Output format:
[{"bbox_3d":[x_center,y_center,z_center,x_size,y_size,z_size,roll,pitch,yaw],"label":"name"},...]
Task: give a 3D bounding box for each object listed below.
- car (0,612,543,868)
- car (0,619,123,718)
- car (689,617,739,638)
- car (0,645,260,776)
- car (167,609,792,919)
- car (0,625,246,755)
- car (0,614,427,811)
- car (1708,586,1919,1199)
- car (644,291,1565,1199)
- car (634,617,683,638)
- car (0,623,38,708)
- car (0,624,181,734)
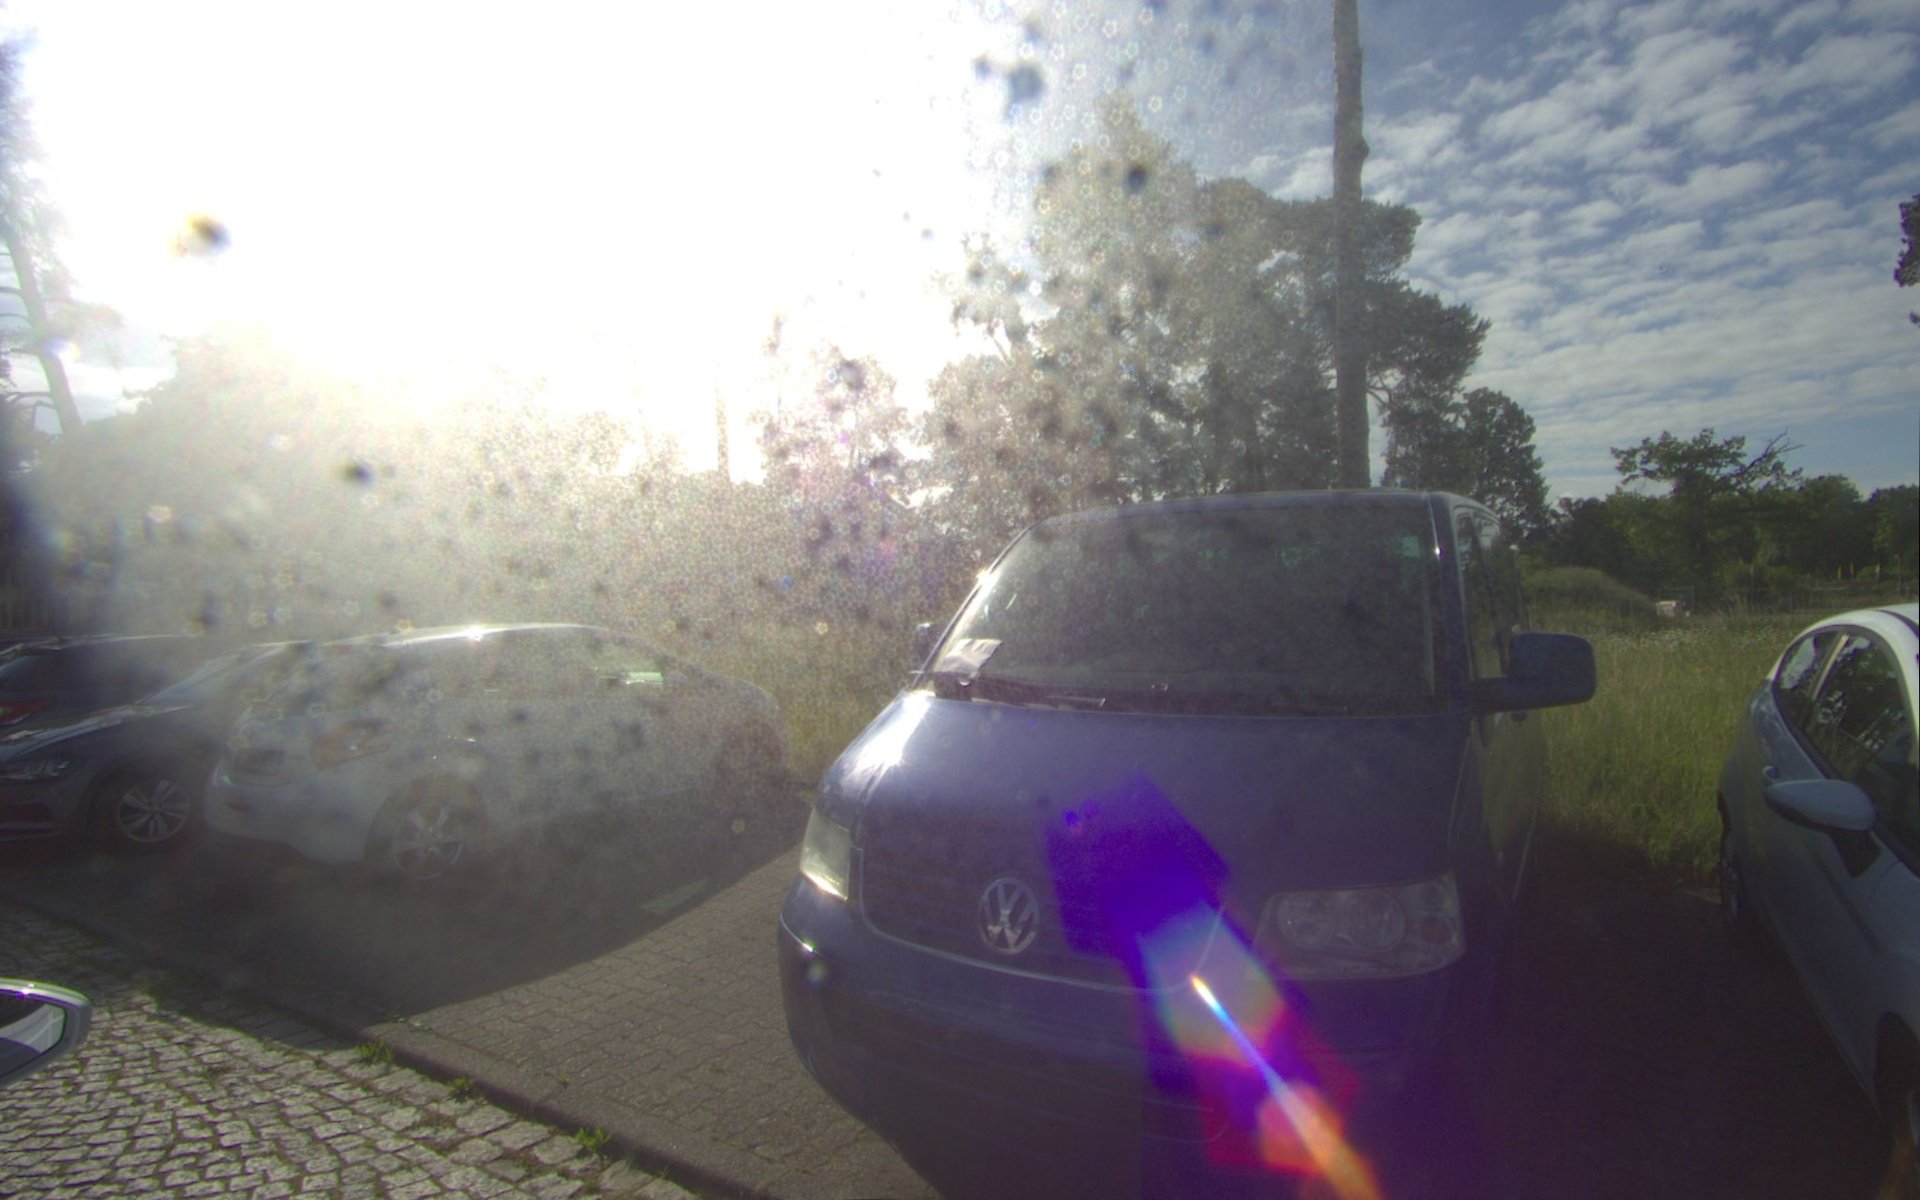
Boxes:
[{"bbox_3d":[-5.660,0.905,8.233,1.733,1.470,3.770,-1,1,34],"label":"car"},{"bbox_3d":[-16.279,1.160,15.579,1.842,1.475,4.610,-1,2,30],"label":"car"},{"bbox_3d":[-19.456,2.179,79.407,1.743,1.517,3.625,-1,-1,35],"label":"car"},{"bbox_3d":[-10.142,1.195,11.223,1.515,1.258,3.453,-1,-1,33],"label":"car"},{"bbox_3d":[-3.018,0.857,7.006,1.611,1.511,3.637,-1,0,33],"label":"car"},{"bbox_3d":[-11.859,1.126,12.919,1.632,1.468,3.971,-1,0,32],"label":"car"},{"bbox_3d":[-7.691,0.965,10.175,1.643,1.474,3.654,-1,1,32],"label":"car"},{"bbox_3d":[3.212,0.724,2.602,1.586,1.486,3.713,-1,1,30],"label":"car"},{"bbox_3d":[1.286,0.477,4.146,1.972,2.041,4.741,-1,1,32],"label":"car"},{"bbox_3d":[-25.304,2.285,84.049,1.743,1.693,3.625,-1,-1,35],"label":"car"},{"bbox_3d":[-18.233,1.220,16.854,1.642,1.462,3.664,-1,1,32],"label":"car"},{"bbox_3d":[-13.866,1.143,13.957,1.763,1.407,4.390,-1,1,31],"label":"car"}]
